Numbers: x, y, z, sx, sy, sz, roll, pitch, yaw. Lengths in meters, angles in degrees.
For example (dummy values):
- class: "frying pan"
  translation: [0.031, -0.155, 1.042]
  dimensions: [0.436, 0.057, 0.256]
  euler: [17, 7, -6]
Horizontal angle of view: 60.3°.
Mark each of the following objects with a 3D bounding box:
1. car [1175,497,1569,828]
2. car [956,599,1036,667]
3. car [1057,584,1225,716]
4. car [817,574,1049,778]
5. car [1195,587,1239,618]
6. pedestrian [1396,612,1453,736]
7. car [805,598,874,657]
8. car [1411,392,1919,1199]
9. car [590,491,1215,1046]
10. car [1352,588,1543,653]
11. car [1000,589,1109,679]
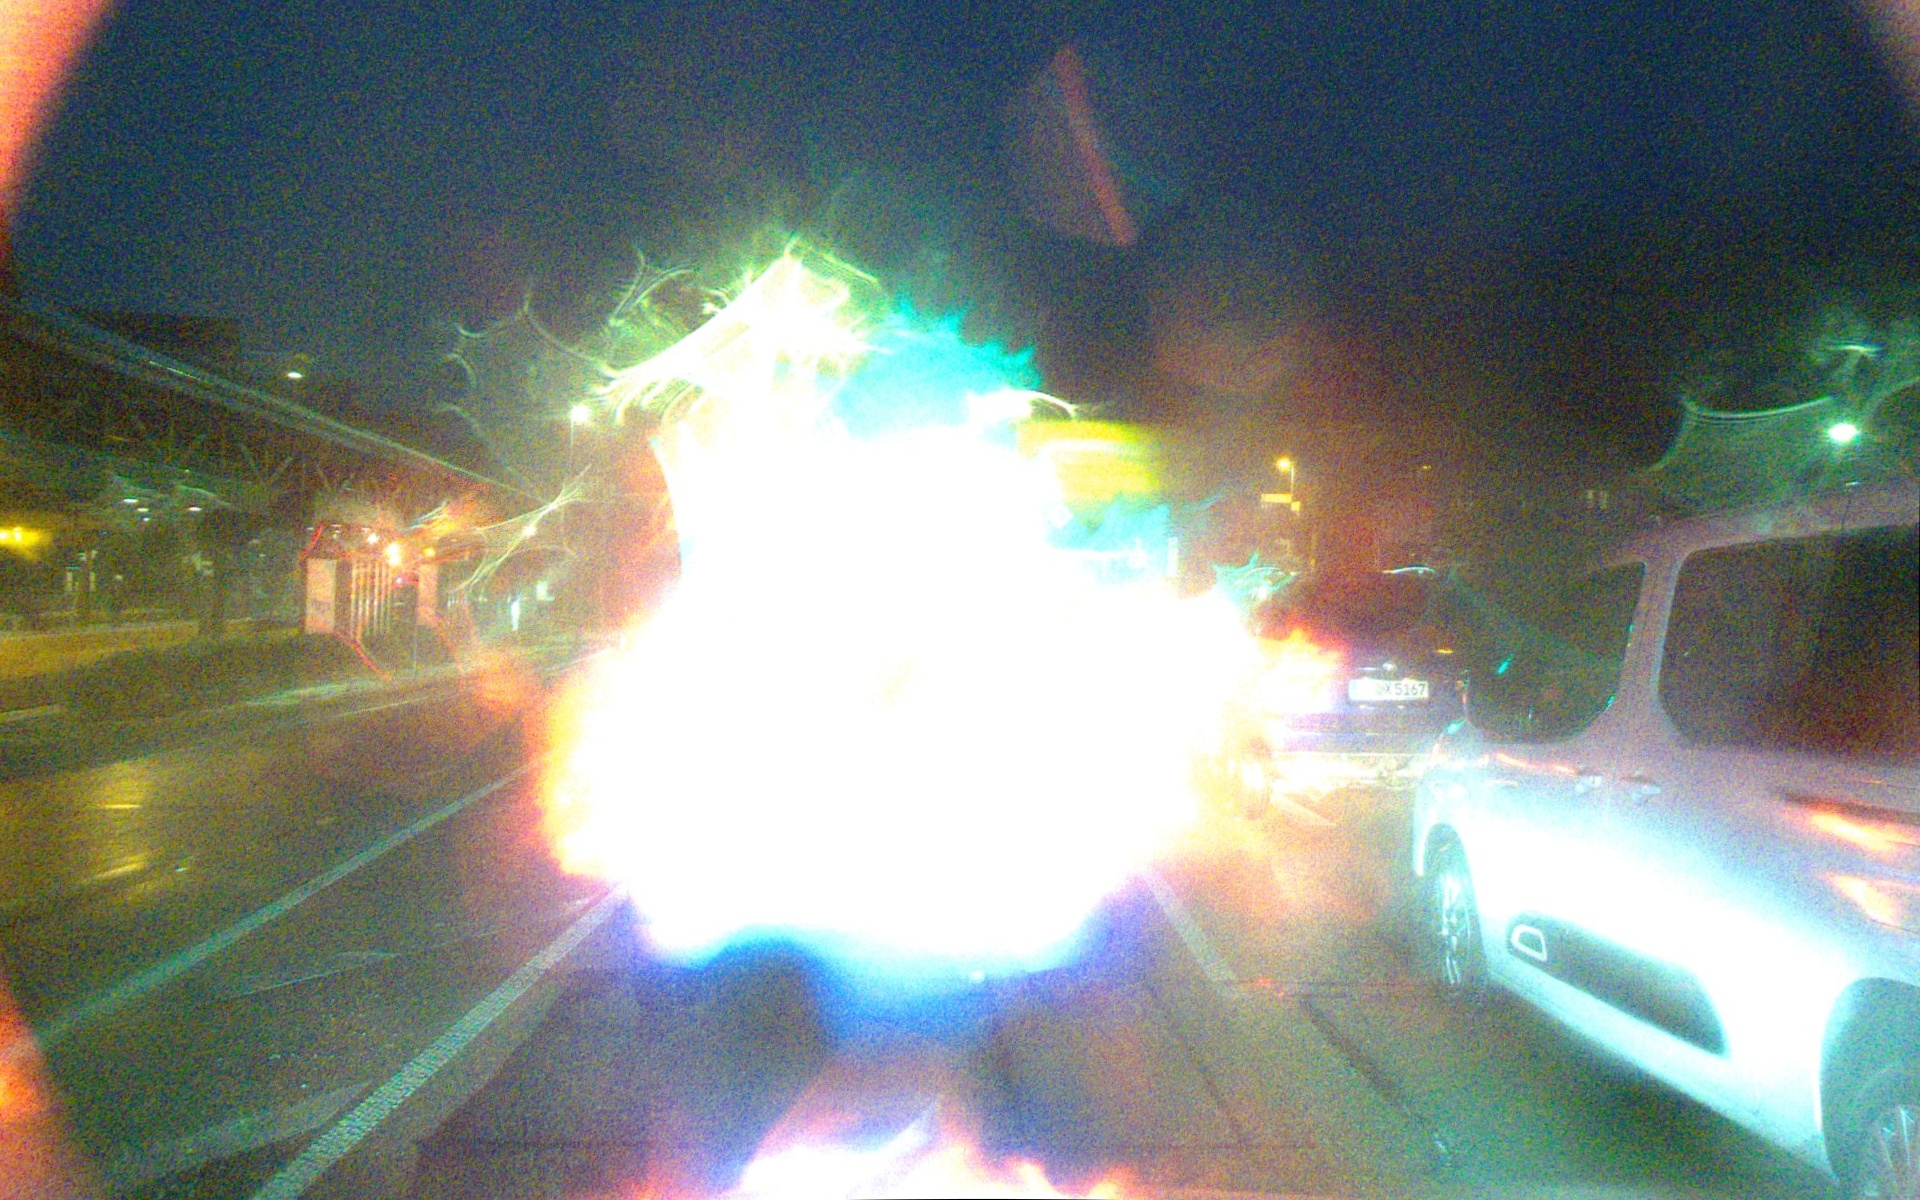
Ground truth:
- class: "car"
  translation: [2.901, 0.414, 12.583]
  dimensions: [1.929, 2.082, 3.999]
  euler: [1, 0, -1]
- class: "car"
  translation: [0.964, 0.896, 46.396]
  dimensions: [1.954, 1.804, 3.997]
  euler: [1, 0, -3]
- class: "car"
  translation: [2.566, 0.684, 24.373]
  dimensions: [1.953, 1.748, 3.999]
  euler: [1, 0, -1]
- class: "car"
  translation: [-0.262, 0.659, 16.131]
  dimensions: [1.953, 1.713, 3.999]
  euler: [1, 0, -1]
- class: "car"
  translation: [14.632, 0.158, 94.329]
  dimensions: [1.827, 1.675, 3.962]
  euler: [-2, 0, 0]
- class: "pedestrian"
  translation: [6.613, 1.042, 23.556]
  dimensions: [0.610, 1.731, 0.540]
  euler: [1, -1, -3]
- class: "car"
  translation: [-4.077, 0.888, 55.336]
  dimensions: [1.957, 1.856, 3.992]
  euler: [1, 0, -9]
- class: "car"
  translation: [2.765, 0.563, 4.490]
  dimensions: [1.814, 1.897, 4.339]
  euler: [1, 0, -1]
- class: "car"
  translation: [-0.227, 0.555, 7.526]
  dimensions: [1.974, 1.747, 4.450]
  euler: [1, 0, -1]
- class: "car"
  translation: [12.012, 0.479, 40.800]
  dimensions: [4.244, 1.485, 1.849]
  euler: [1, 0, 28]
- class: "car"
  translation: [1.882, 0.672, 34.082]
  dimensions: [1.953, 1.699, 3.999]
  euler: [1, 0, -1]
